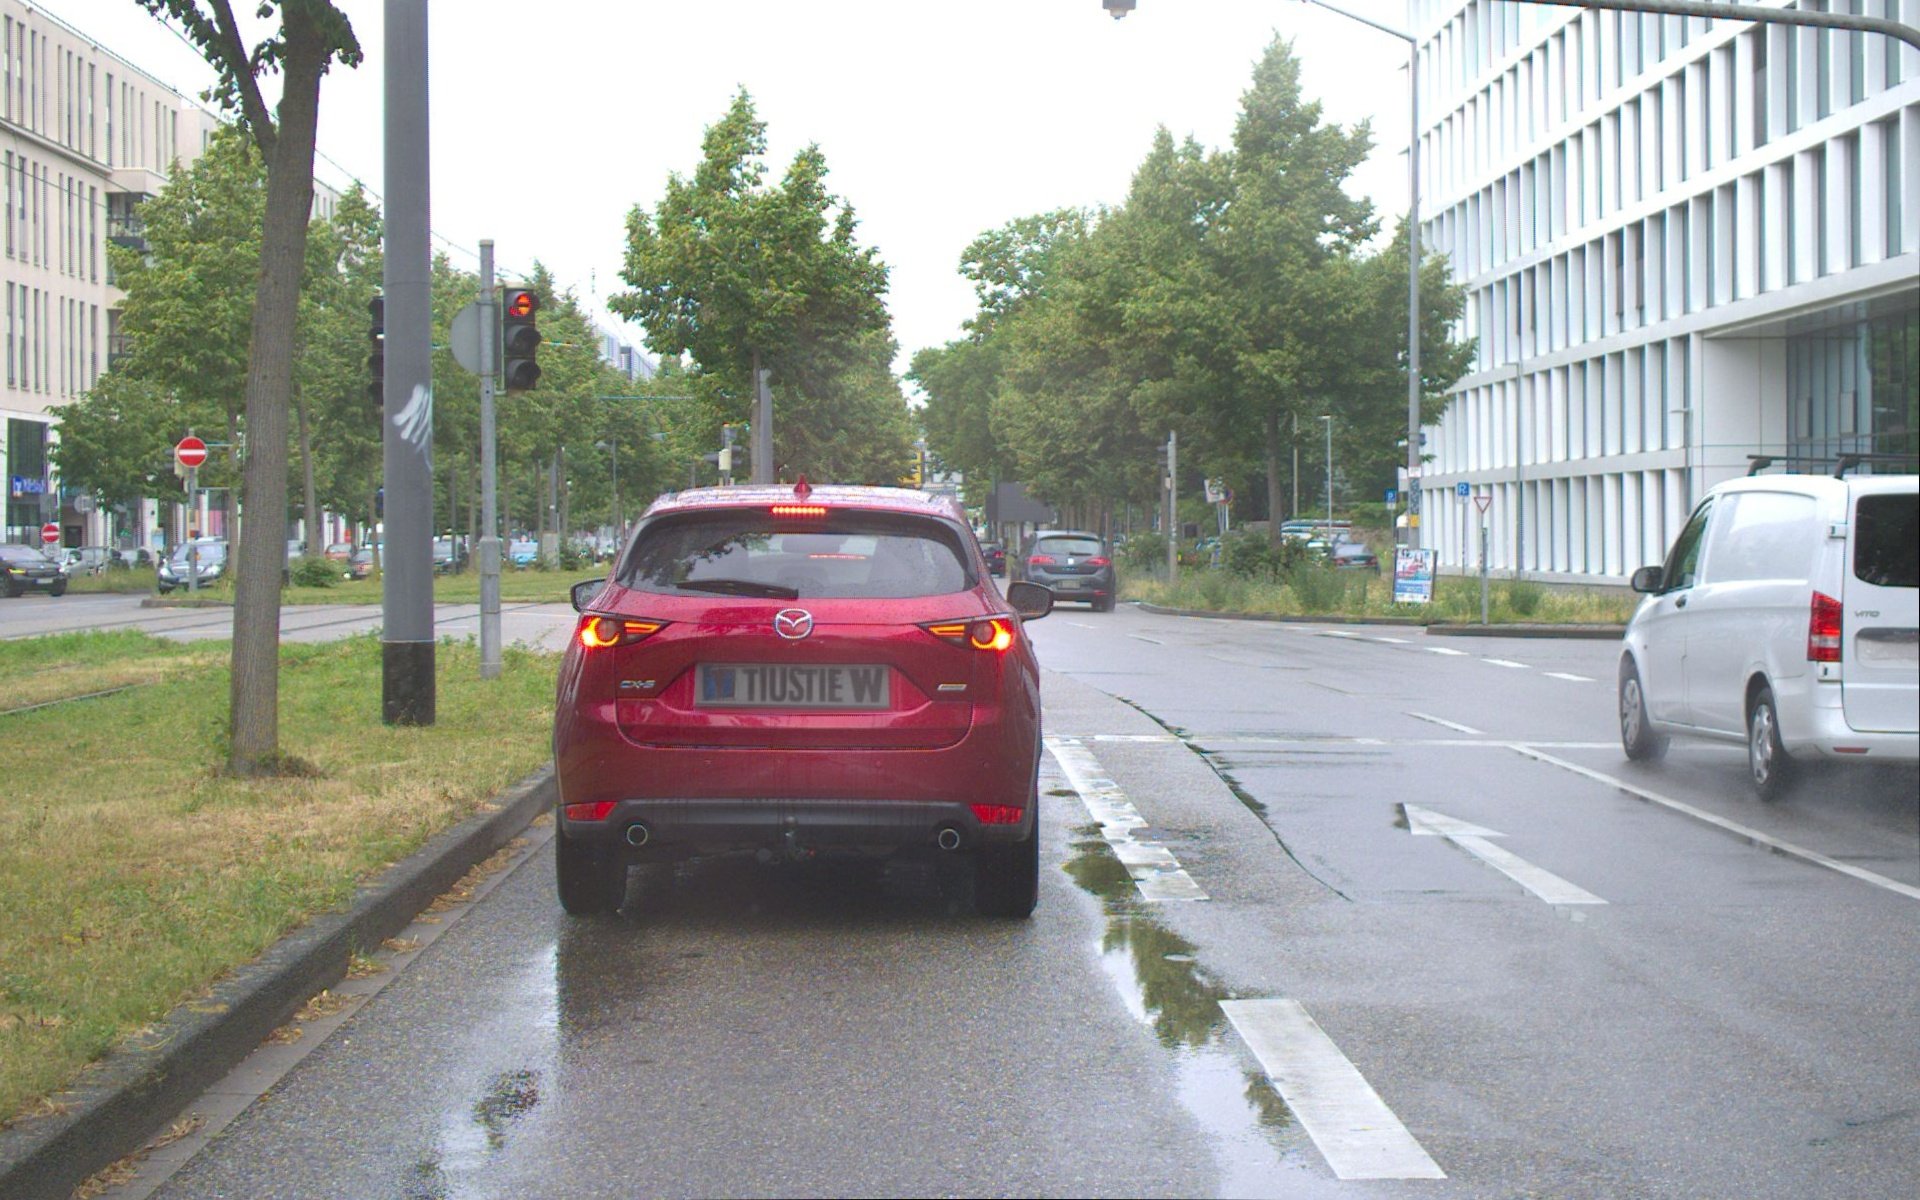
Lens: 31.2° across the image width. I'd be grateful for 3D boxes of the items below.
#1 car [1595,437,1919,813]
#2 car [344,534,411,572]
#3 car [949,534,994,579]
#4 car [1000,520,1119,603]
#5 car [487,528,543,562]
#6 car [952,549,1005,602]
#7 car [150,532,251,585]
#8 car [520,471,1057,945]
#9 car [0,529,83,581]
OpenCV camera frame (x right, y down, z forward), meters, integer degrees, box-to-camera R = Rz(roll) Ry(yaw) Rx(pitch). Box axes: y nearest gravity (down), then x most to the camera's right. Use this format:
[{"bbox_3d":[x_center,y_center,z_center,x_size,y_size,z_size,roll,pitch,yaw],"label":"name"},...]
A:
[{"bbox_3d":[5.362,0.103,20.670,1.967,1.972,5.092,1,1,-2],"label":"car"},{"bbox_3d":[-23.830,-1.931,140.739,1.993,1.479,4.446,0,1,0],"label":"car"},{"bbox_3d":[0.509,-1.984,155.907,1.993,2.007,4.000,0,1,-1],"label":"car"},{"bbox_3d":[1.806,-0.731,63.370,1.743,1.460,3.782,0,1,-5],"label":"car"},{"bbox_3d":[-19.857,-2.464,153.533,1.993,1.479,4.446,0,1,-1],"label":"car"},{"bbox_3d":[0.696,-0.986,135.072,1.993,2.007,4.000,0,1,-1],"label":"car"},{"bbox_3d":[-21.709,-1.201,98.395,1.993,1.479,4.446,0,1,-1],"label":"car"},{"bbox_3d":[-0.657,0.336,14.202,1.898,1.671,4.001,0,1,-1],"label":"car"},{"bbox_3d":[-27.693,-1.366,103.010,1.993,1.479,4.446,0,1,-4],"label":"car"}]
